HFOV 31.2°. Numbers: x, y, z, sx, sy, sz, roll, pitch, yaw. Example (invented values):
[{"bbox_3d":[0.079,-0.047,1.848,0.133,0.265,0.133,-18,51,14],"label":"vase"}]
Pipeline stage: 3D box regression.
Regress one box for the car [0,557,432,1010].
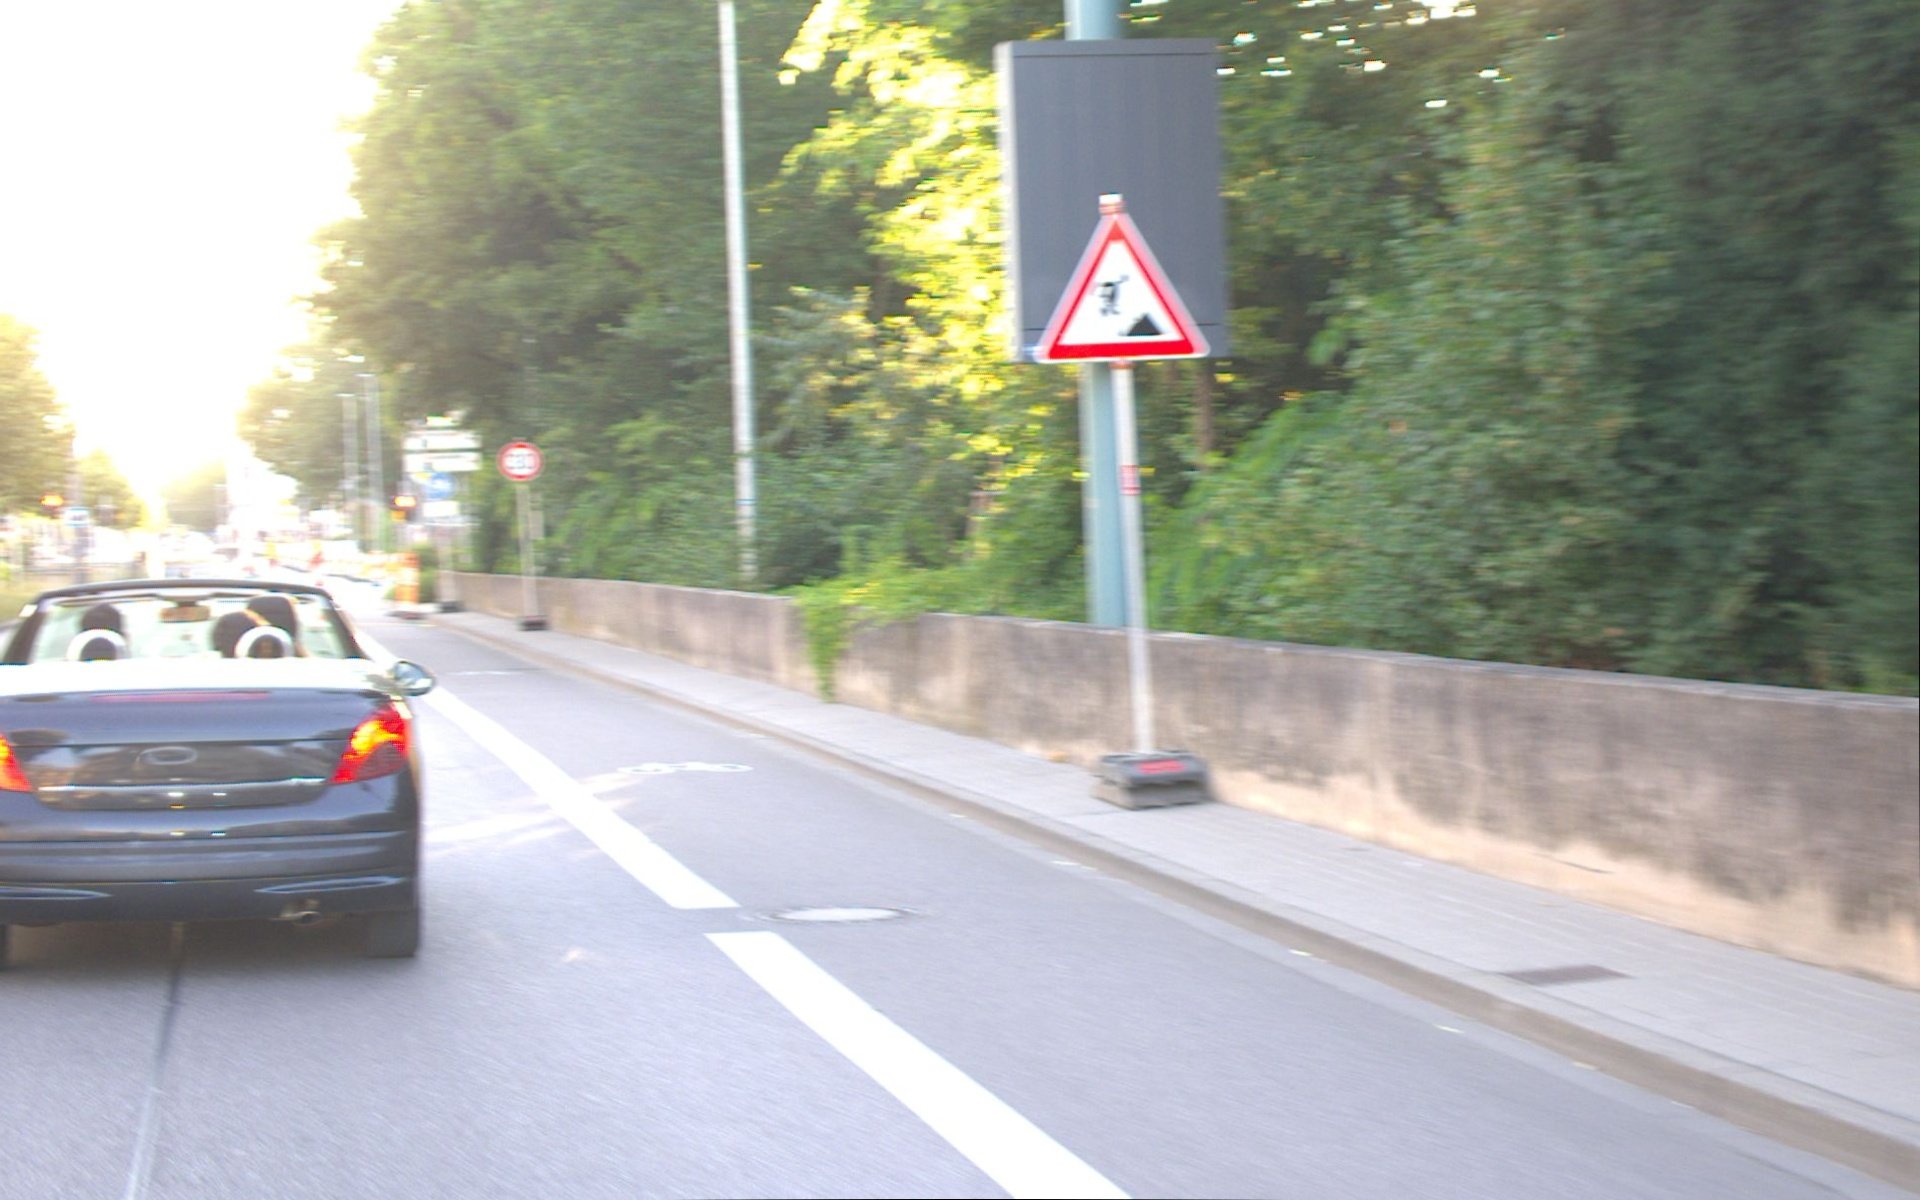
[{"bbox_3d":[-3.155,0.587,13.382,1.718,1.444,3.902,-2,1,-15],"label":"car"}]
